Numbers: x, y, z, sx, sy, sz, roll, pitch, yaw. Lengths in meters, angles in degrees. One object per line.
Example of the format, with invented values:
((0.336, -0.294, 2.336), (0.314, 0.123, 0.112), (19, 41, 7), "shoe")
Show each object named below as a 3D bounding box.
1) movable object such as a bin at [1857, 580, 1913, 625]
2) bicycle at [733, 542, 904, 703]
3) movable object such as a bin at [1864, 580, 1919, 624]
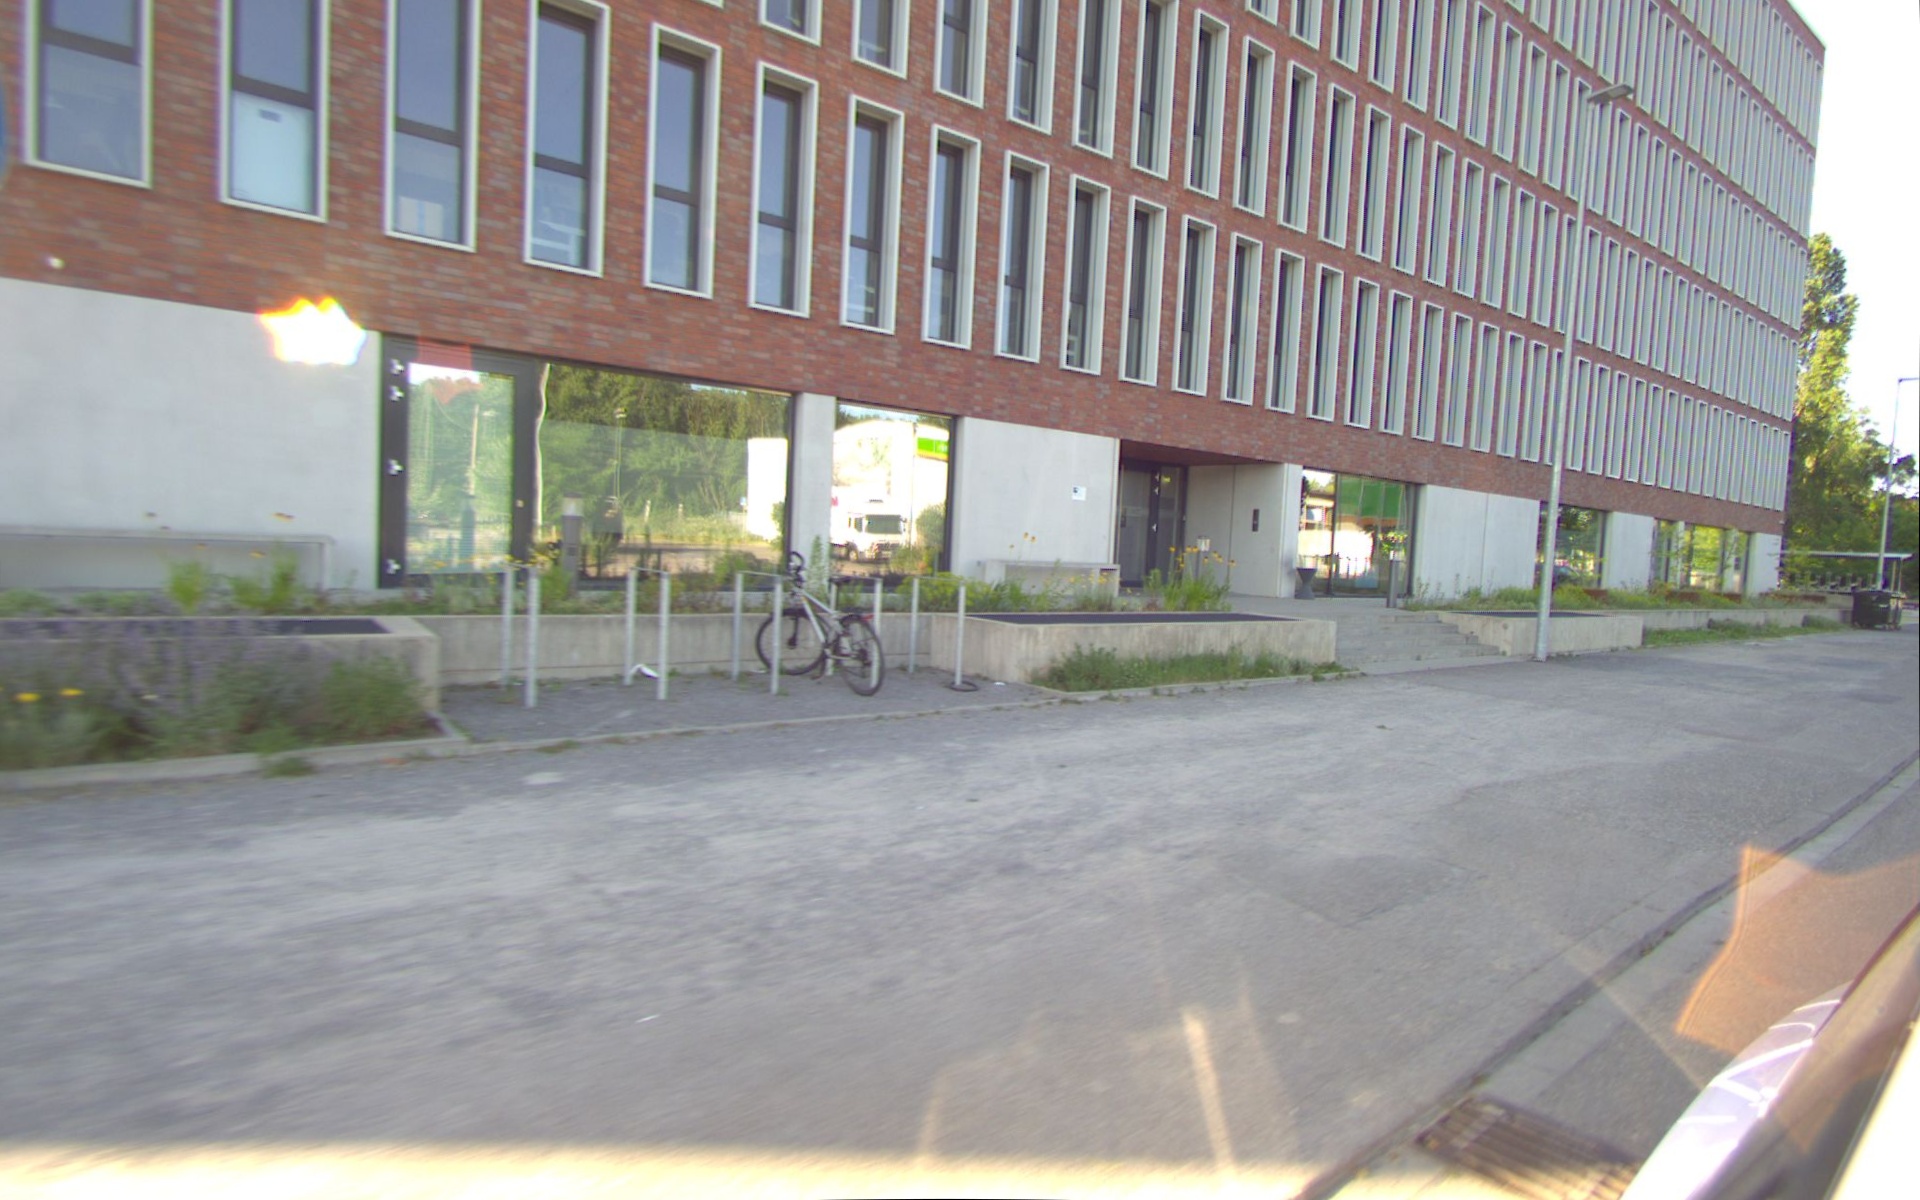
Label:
((30.557, 0.078, 33.431), (1.322, 1.352, 1.131), (1, 4, -40), "movable object such as a bin")
((-1.314, 0.150, 9.044), (0.369, 1.183, 1.934), (1, 6, -45), "bicycle")
((31.601, 0.074, 34.311), (1.322, 1.388, 1.131), (1, 4, -40), "movable object such as a bin")
